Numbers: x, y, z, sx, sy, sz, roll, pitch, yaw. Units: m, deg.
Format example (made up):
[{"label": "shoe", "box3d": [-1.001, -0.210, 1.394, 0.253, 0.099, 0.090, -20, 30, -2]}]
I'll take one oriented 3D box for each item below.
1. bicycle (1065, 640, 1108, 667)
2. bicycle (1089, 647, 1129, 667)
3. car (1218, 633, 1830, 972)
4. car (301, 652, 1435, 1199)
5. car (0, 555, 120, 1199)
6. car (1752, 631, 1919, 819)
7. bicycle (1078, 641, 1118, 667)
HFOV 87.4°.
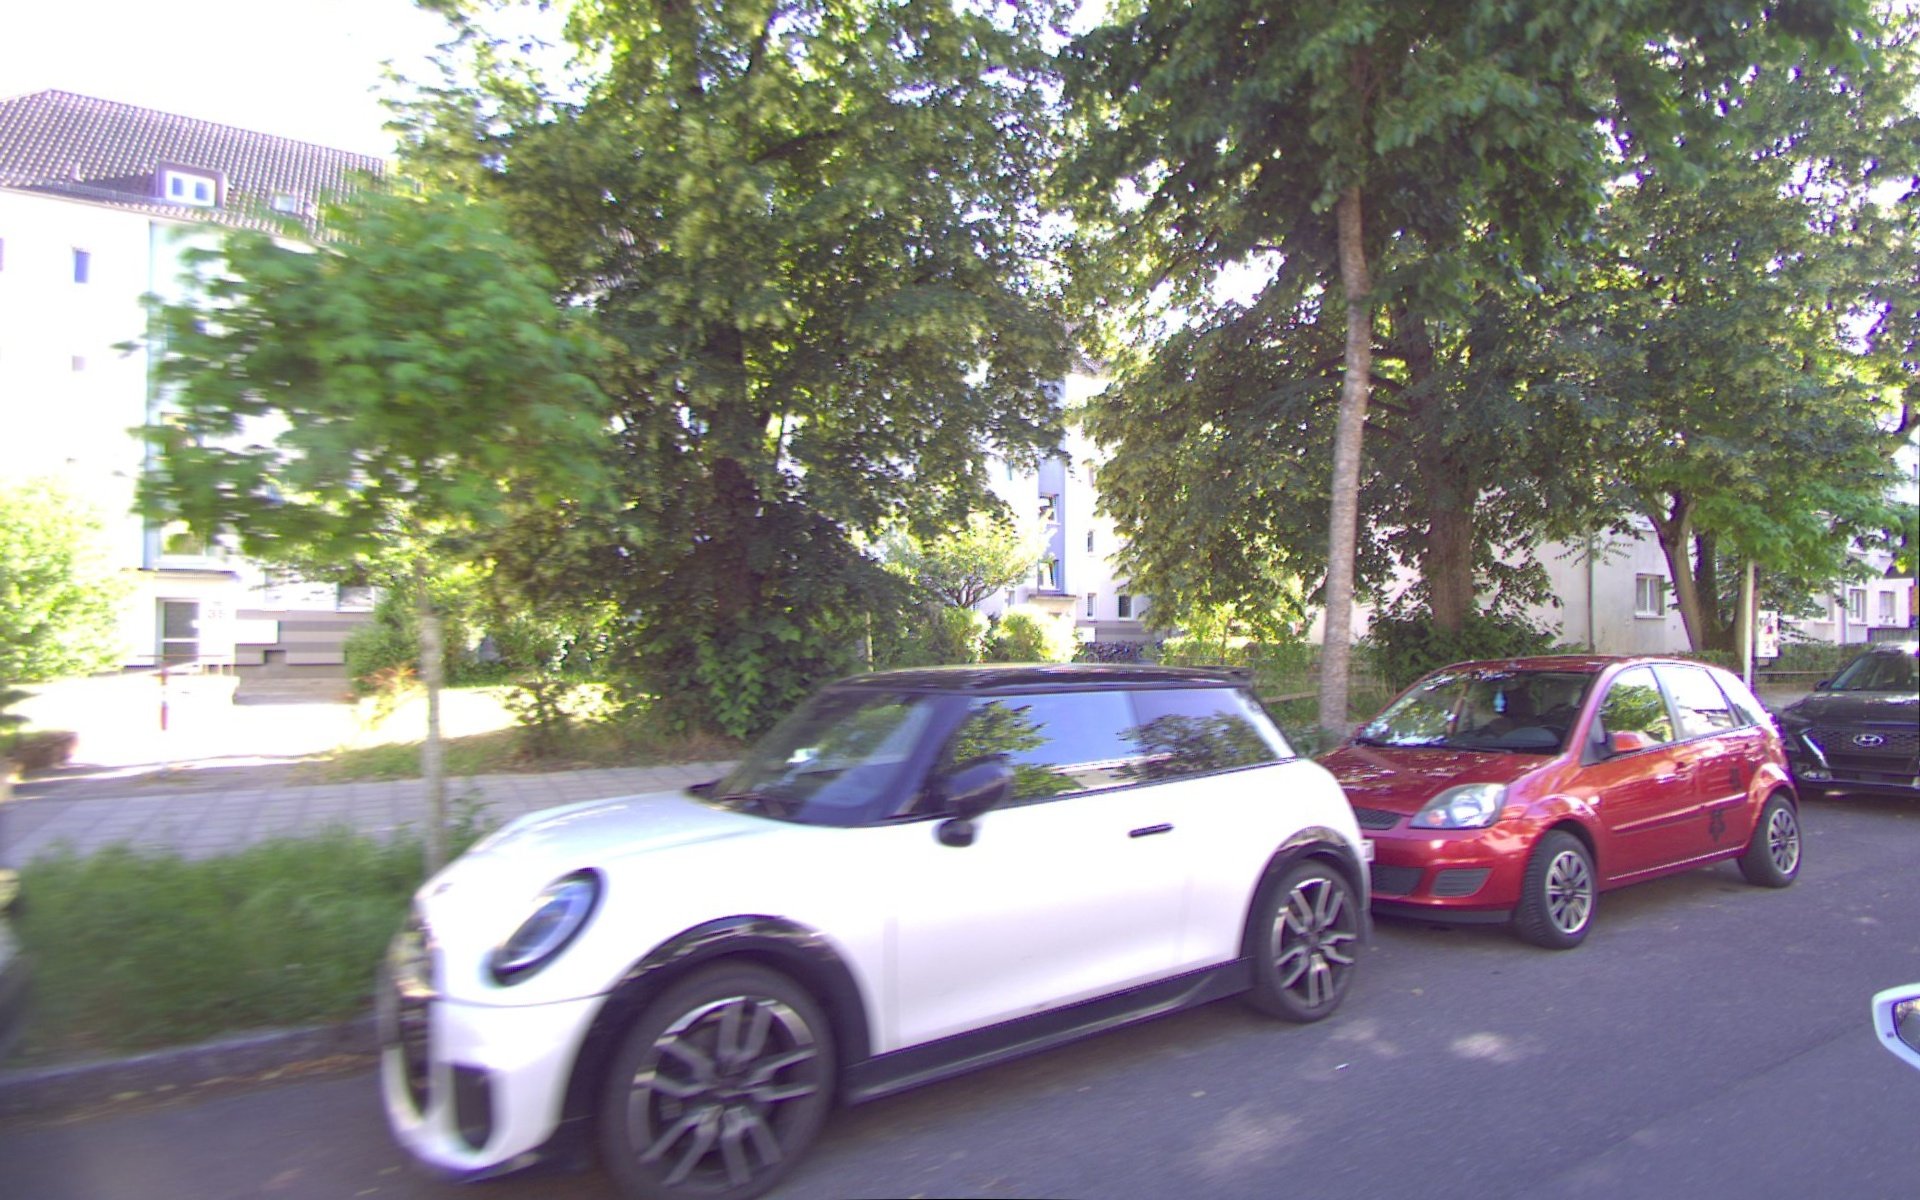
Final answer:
[{"label": "bicycle", "box3d": [5.305, 2.233, 42.380, 0.720, 1.066, 1.948, 1, -2, -33]}, {"label": "bicycle", "box3d": [6.413, 2.449, 43.245, 0.556, 0.785, 1.948, 1, -2, -33]}, {"label": "car", "box3d": [3.659, 0.984, 6.327, 4.024, 1.524, 1.645, 1, -3, -32]}, {"label": "car", "box3d": [-0.103, 0.928, 4.001, 4.143, 1.391, 1.645, 1, -3, -32]}, {"label": "car", "box3d": [-4.595, 0.697, 1.354, 5.029, 1.678, 1.833, 1, -3, -31]}, {"label": "car", "box3d": [9.925, 1.121, 9.979, 4.428, 1.598, 1.698, 1, -2, -30]}, {"label": "bicycle", "box3d": [5.859, 2.275, 42.823, 0.556, 1.066, 1.948, 1, -2, -33]}]
